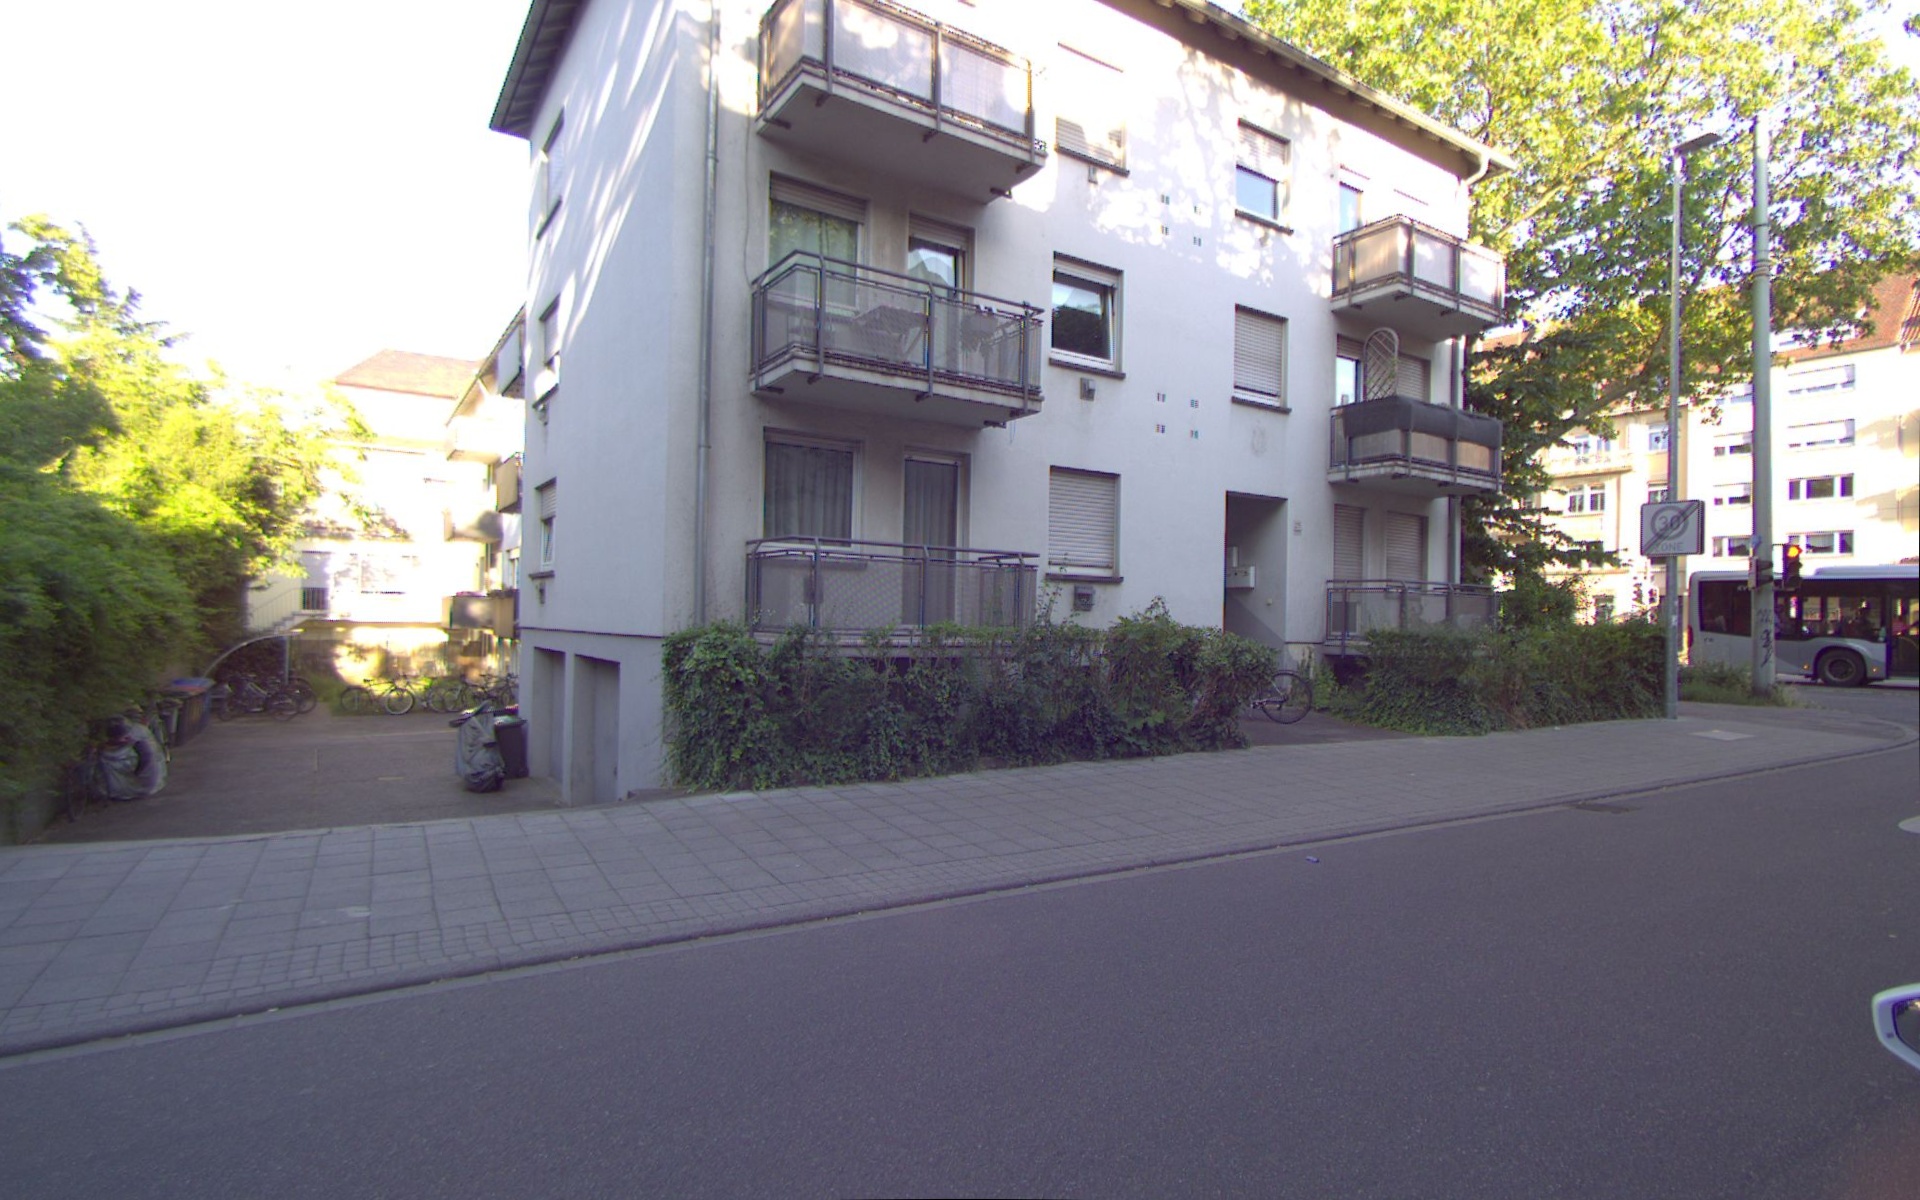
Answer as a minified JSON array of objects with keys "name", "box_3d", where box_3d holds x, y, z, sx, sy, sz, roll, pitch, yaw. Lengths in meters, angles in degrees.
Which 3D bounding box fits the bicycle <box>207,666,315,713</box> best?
[{"name":"bicycle","box_3d":[-18.869,2.403,27.190,2.311,1.192,0.689,2,-4,-30]}]

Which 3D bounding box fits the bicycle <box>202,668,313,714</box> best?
[{"name":"bicycle","box_3d":[-18.443,2.382,26.444,2.311,1.148,0.689,2,-4,-30]}]

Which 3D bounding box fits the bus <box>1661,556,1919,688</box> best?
[{"name":"bus","box_3d":[23.834,0.593,26.656,2.885,3.243,8.116,1,-1,-37]}]

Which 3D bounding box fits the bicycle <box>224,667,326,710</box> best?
[{"name":"bicycle","box_3d":[-19.486,2.506,28.639,2.311,1.192,0.689,2,-4,-30]}]

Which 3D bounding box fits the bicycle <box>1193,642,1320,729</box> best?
[{"name":"bicycle","box_3d":[4.033,1.141,13.675,1.590,1.022,0.517,3,1,20]}]

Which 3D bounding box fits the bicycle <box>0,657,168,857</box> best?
[{"name":"bicycle","box_3d":[-10.442,1.691,12.081,0.961,1.917,4.156,1,-2,-32]}]

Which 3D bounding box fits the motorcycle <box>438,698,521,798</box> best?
[{"name":"motorcycle","box_3d":[-7.245,2.182,15.109,0.739,1.313,1.563,2,-2,-41]}]

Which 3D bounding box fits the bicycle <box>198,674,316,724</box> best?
[{"name":"bicycle","box_3d":[-17.179,2.395,24.627,2.268,1.148,0.689,2,-4,-30]}]

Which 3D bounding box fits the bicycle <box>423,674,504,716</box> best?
[{"name":"bicycle","box_3d":[-13.755,2.619,27.845,1.982,1.085,0.561,2,-4,-30]}]

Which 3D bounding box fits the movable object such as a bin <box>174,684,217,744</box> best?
[{"name":"movable object such as a bin","box_3d":[-15.330,2.271,20.153,0.606,1.129,0.795,1,-3,-33]}]

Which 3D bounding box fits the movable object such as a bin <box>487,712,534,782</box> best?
[{"name":"movable object such as a bin","box_3d":[-7.241,2.357,16.192,0.606,1.051,0.534,1,-3,-34]}]

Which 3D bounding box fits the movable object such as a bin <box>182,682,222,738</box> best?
[{"name":"movable object such as a bin","box_3d":[-16.204,2.335,21.485,0.606,1.129,0.795,1,-3,-33]}]

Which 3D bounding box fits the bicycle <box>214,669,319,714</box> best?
[{"name":"bicycle","box_3d":[-19.215,2.523,27.911,2.311,1.192,0.689,2,-4,-30]}]

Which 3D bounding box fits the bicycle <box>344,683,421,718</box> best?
[{"name":"bicycle","box_3d":[-15.409,2.673,26.845,1.734,0.890,0.561,2,-4,-30]}]

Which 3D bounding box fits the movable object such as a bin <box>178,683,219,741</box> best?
[{"name":"movable object such as a bin","box_3d":[-15.772,2.304,20.824,0.606,1.129,0.795,1,-3,-33]}]

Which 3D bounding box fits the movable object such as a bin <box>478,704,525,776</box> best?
[{"name":"movable object such as a bin","box_3d":[-7.757,2.350,17.004,0.606,1.129,0.795,1,-3,-33]}]
